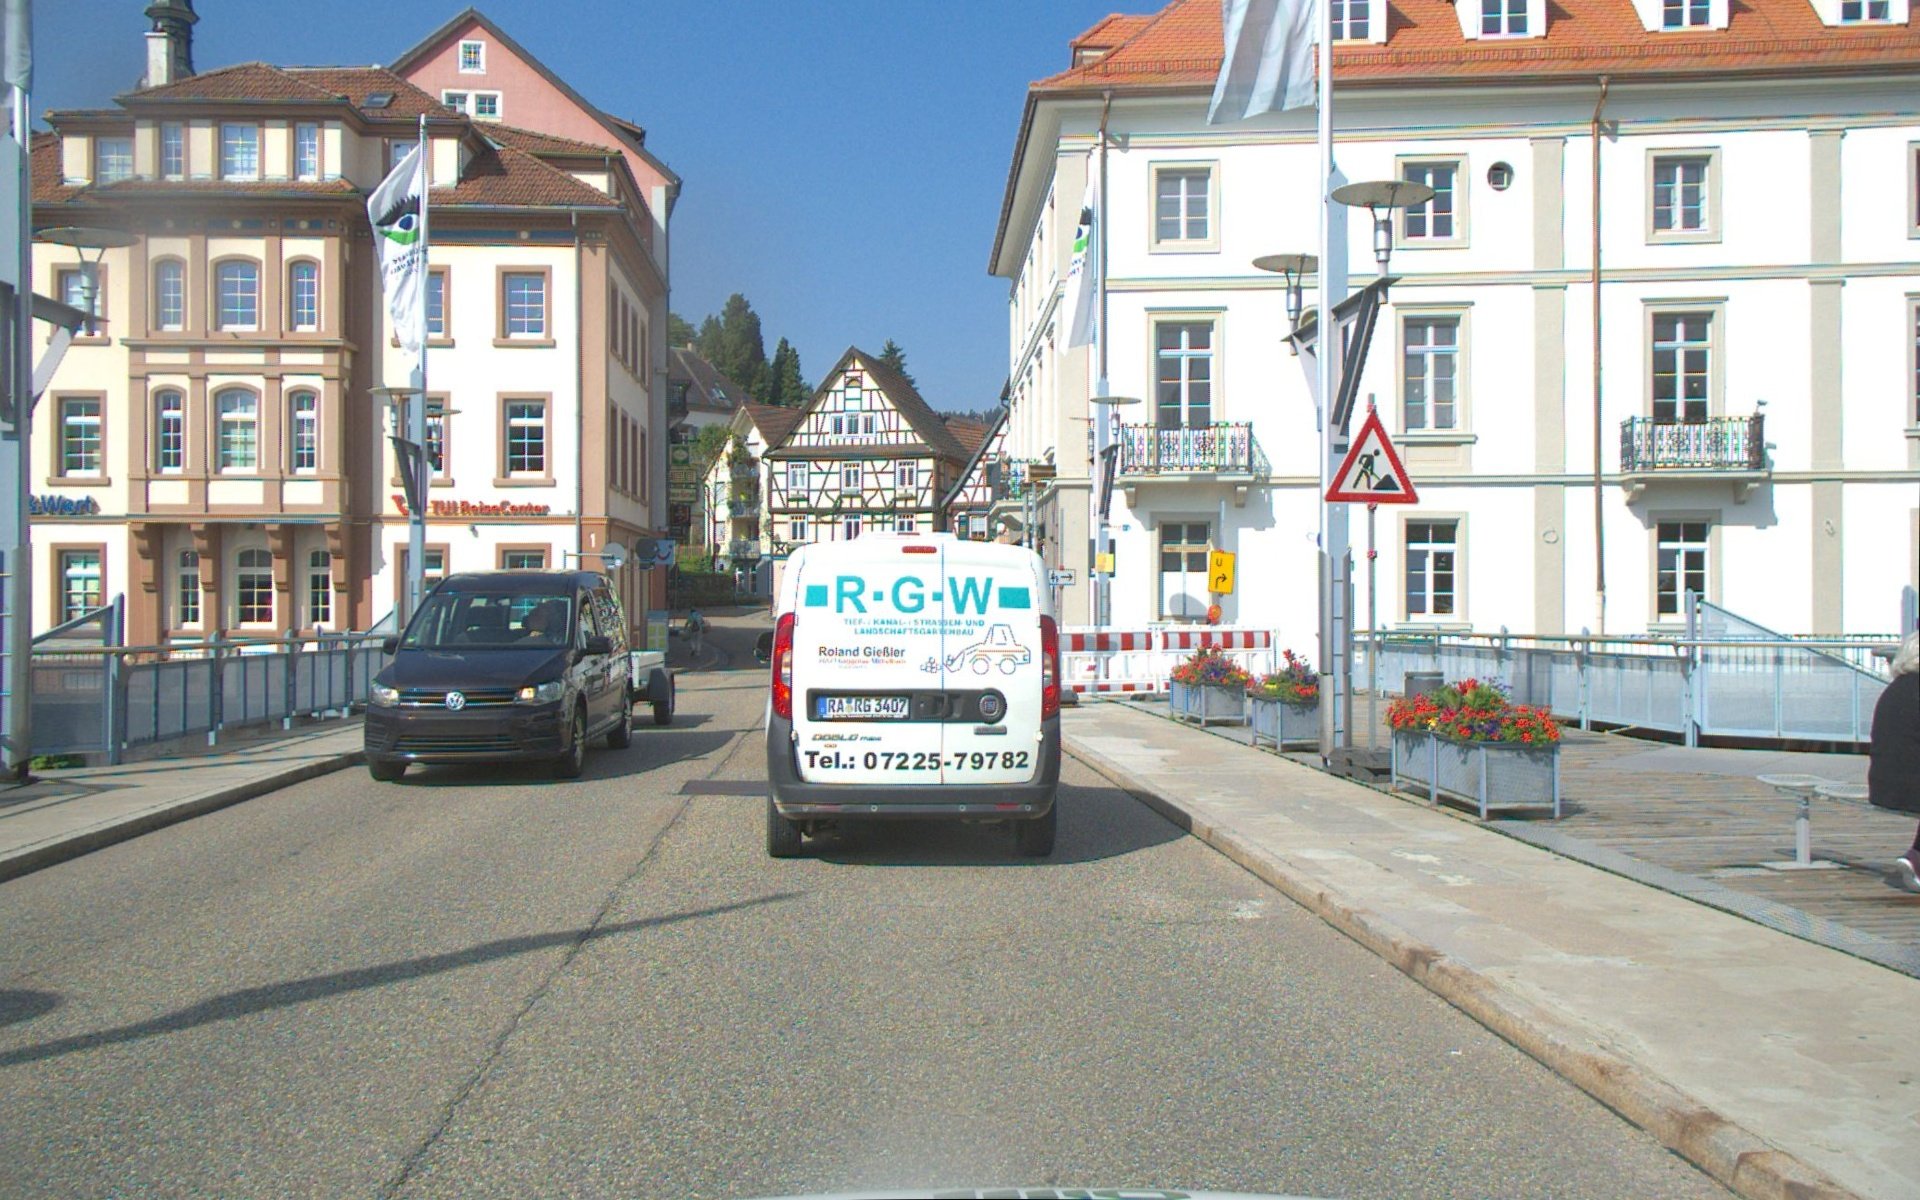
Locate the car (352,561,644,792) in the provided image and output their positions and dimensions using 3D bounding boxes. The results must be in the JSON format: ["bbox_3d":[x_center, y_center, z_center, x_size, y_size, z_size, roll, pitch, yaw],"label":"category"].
[{"bbox_3d":[-4.122,0.592,15.519,1.742,1.824,4.692,1,1,-5],"label":"car"}]

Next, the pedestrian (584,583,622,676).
[{"bbox_3d":[-6.996,0.571,32.462,0.603,1.793,0.863,1,0,-5],"label":"pedestrian"}]

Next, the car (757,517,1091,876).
[{"bbox_3d":[-0.447,0.534,11.207,1.809,1.939,4.307,0,0,-7],"label":"car"}]

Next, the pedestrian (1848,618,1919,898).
[{"bbox_3d":[4.547,0.717,7.681,0.443,1.266,0.625,-1,-1,-9],"label":"pedestrian"}]

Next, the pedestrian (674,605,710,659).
[{"bbox_3d":[-8.572,1.015,52.939,1.052,1.676,0.685,0,0,-2],"label":"pedestrian"}]

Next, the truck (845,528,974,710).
[{"bbox_3d":[-0.876,0.276,26.120,1.825,2.630,4.256,0,0,-5],"label":"truck"}]

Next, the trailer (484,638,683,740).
[{"bbox_3d":[-4.413,1.010,19.958,1.716,1.040,4.181,-1,-1,-4],"label":"trailer"}]
